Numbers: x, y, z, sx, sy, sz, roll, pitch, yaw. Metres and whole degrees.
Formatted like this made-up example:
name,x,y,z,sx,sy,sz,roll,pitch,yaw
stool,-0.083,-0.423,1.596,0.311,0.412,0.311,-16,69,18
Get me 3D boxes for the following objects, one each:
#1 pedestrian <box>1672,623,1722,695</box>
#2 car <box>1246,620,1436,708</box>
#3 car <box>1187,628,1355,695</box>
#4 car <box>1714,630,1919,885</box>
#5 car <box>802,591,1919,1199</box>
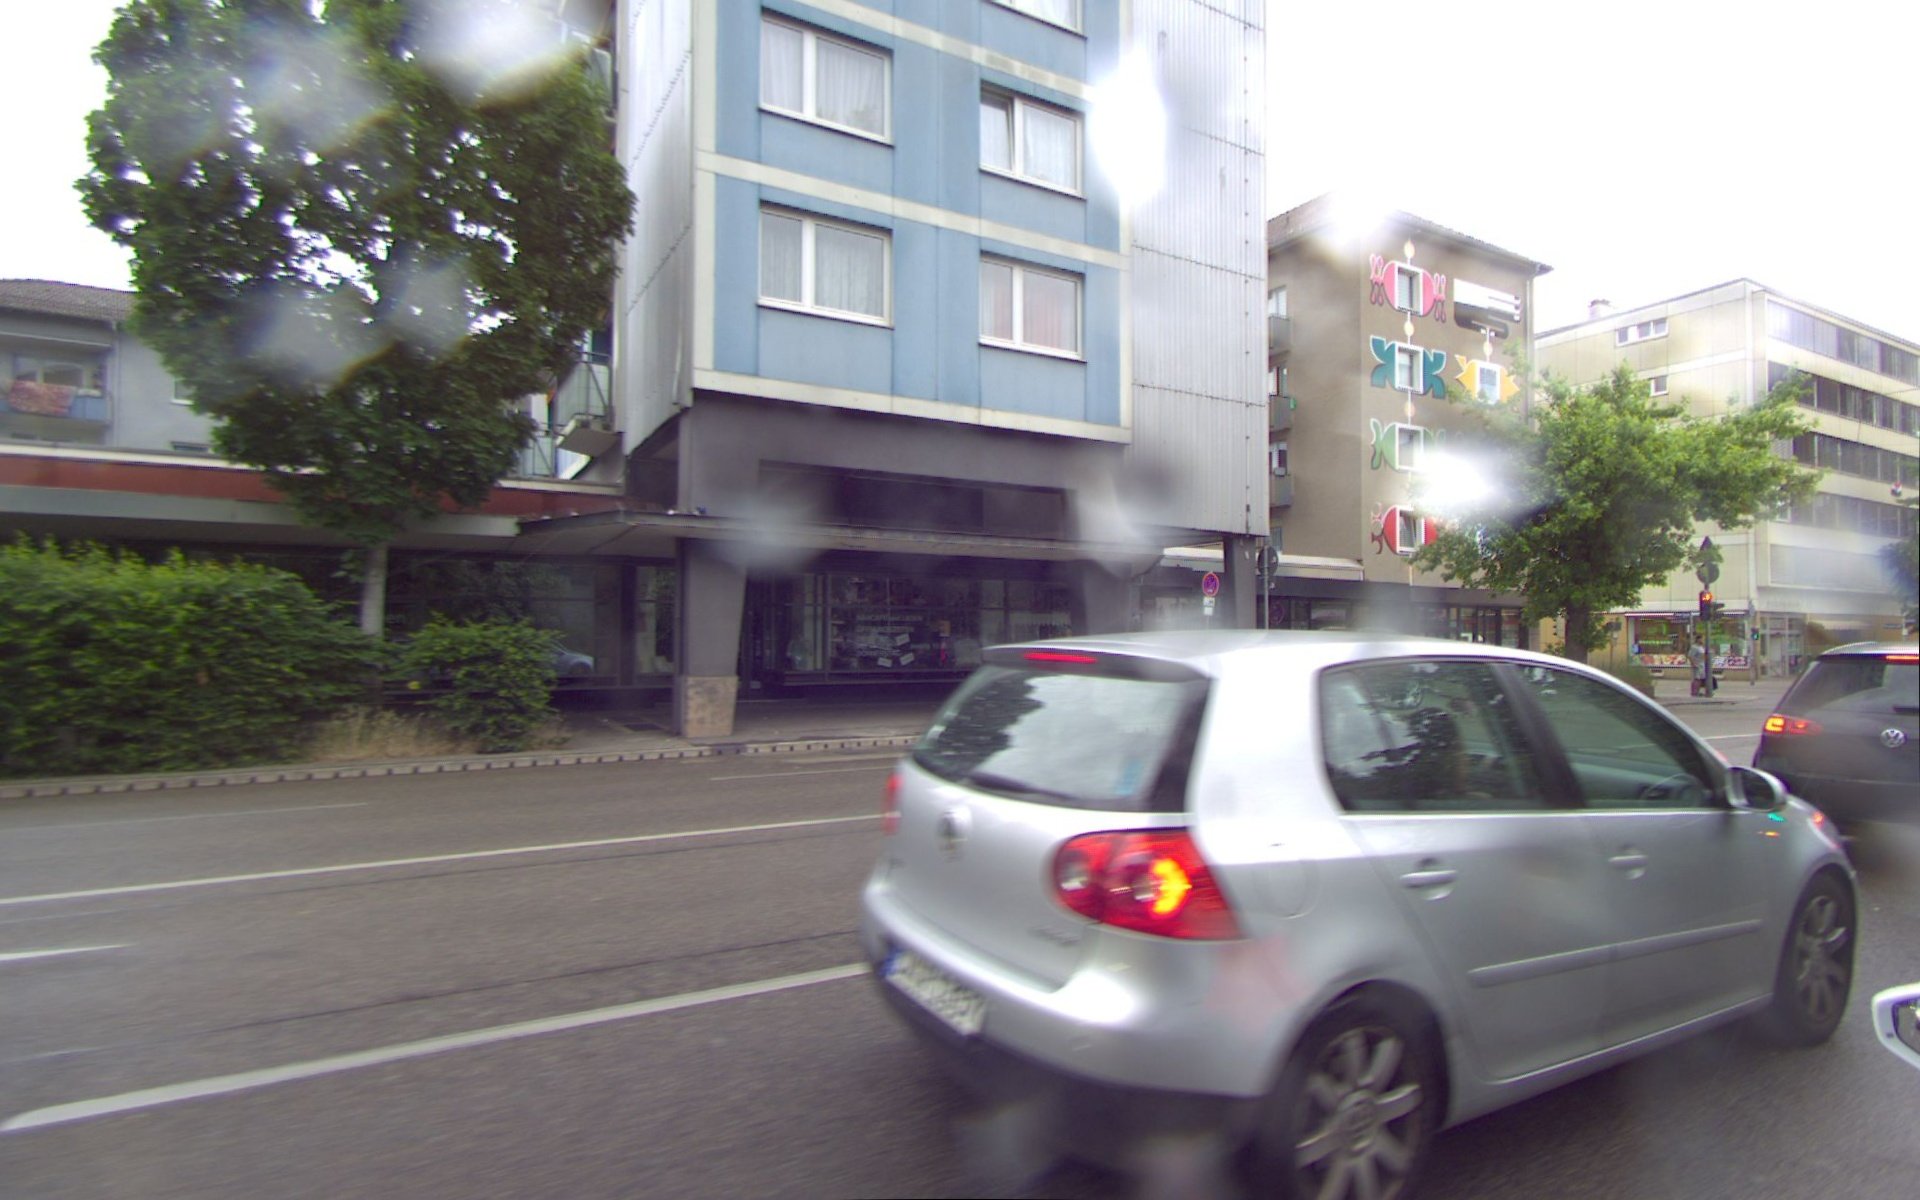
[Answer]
name,x,y,z,sx,sy,sz,roll,pitch,yaw
pedestrian,21.402,1.716,29.166,0.879,2.040,0.933,2,-4,-39
car,8.248,1.327,21.642,4.237,1.728,1.532,2,-1,-31
car,8.541,1.646,27.479,4.460,1.676,1.983,2,-2,-31
car,7.189,0.959,6.980,3.954,1.472,1.747,1,-2,-31
car,1.668,0.820,3.687,4.114,1.506,1.735,2,-3,-31
